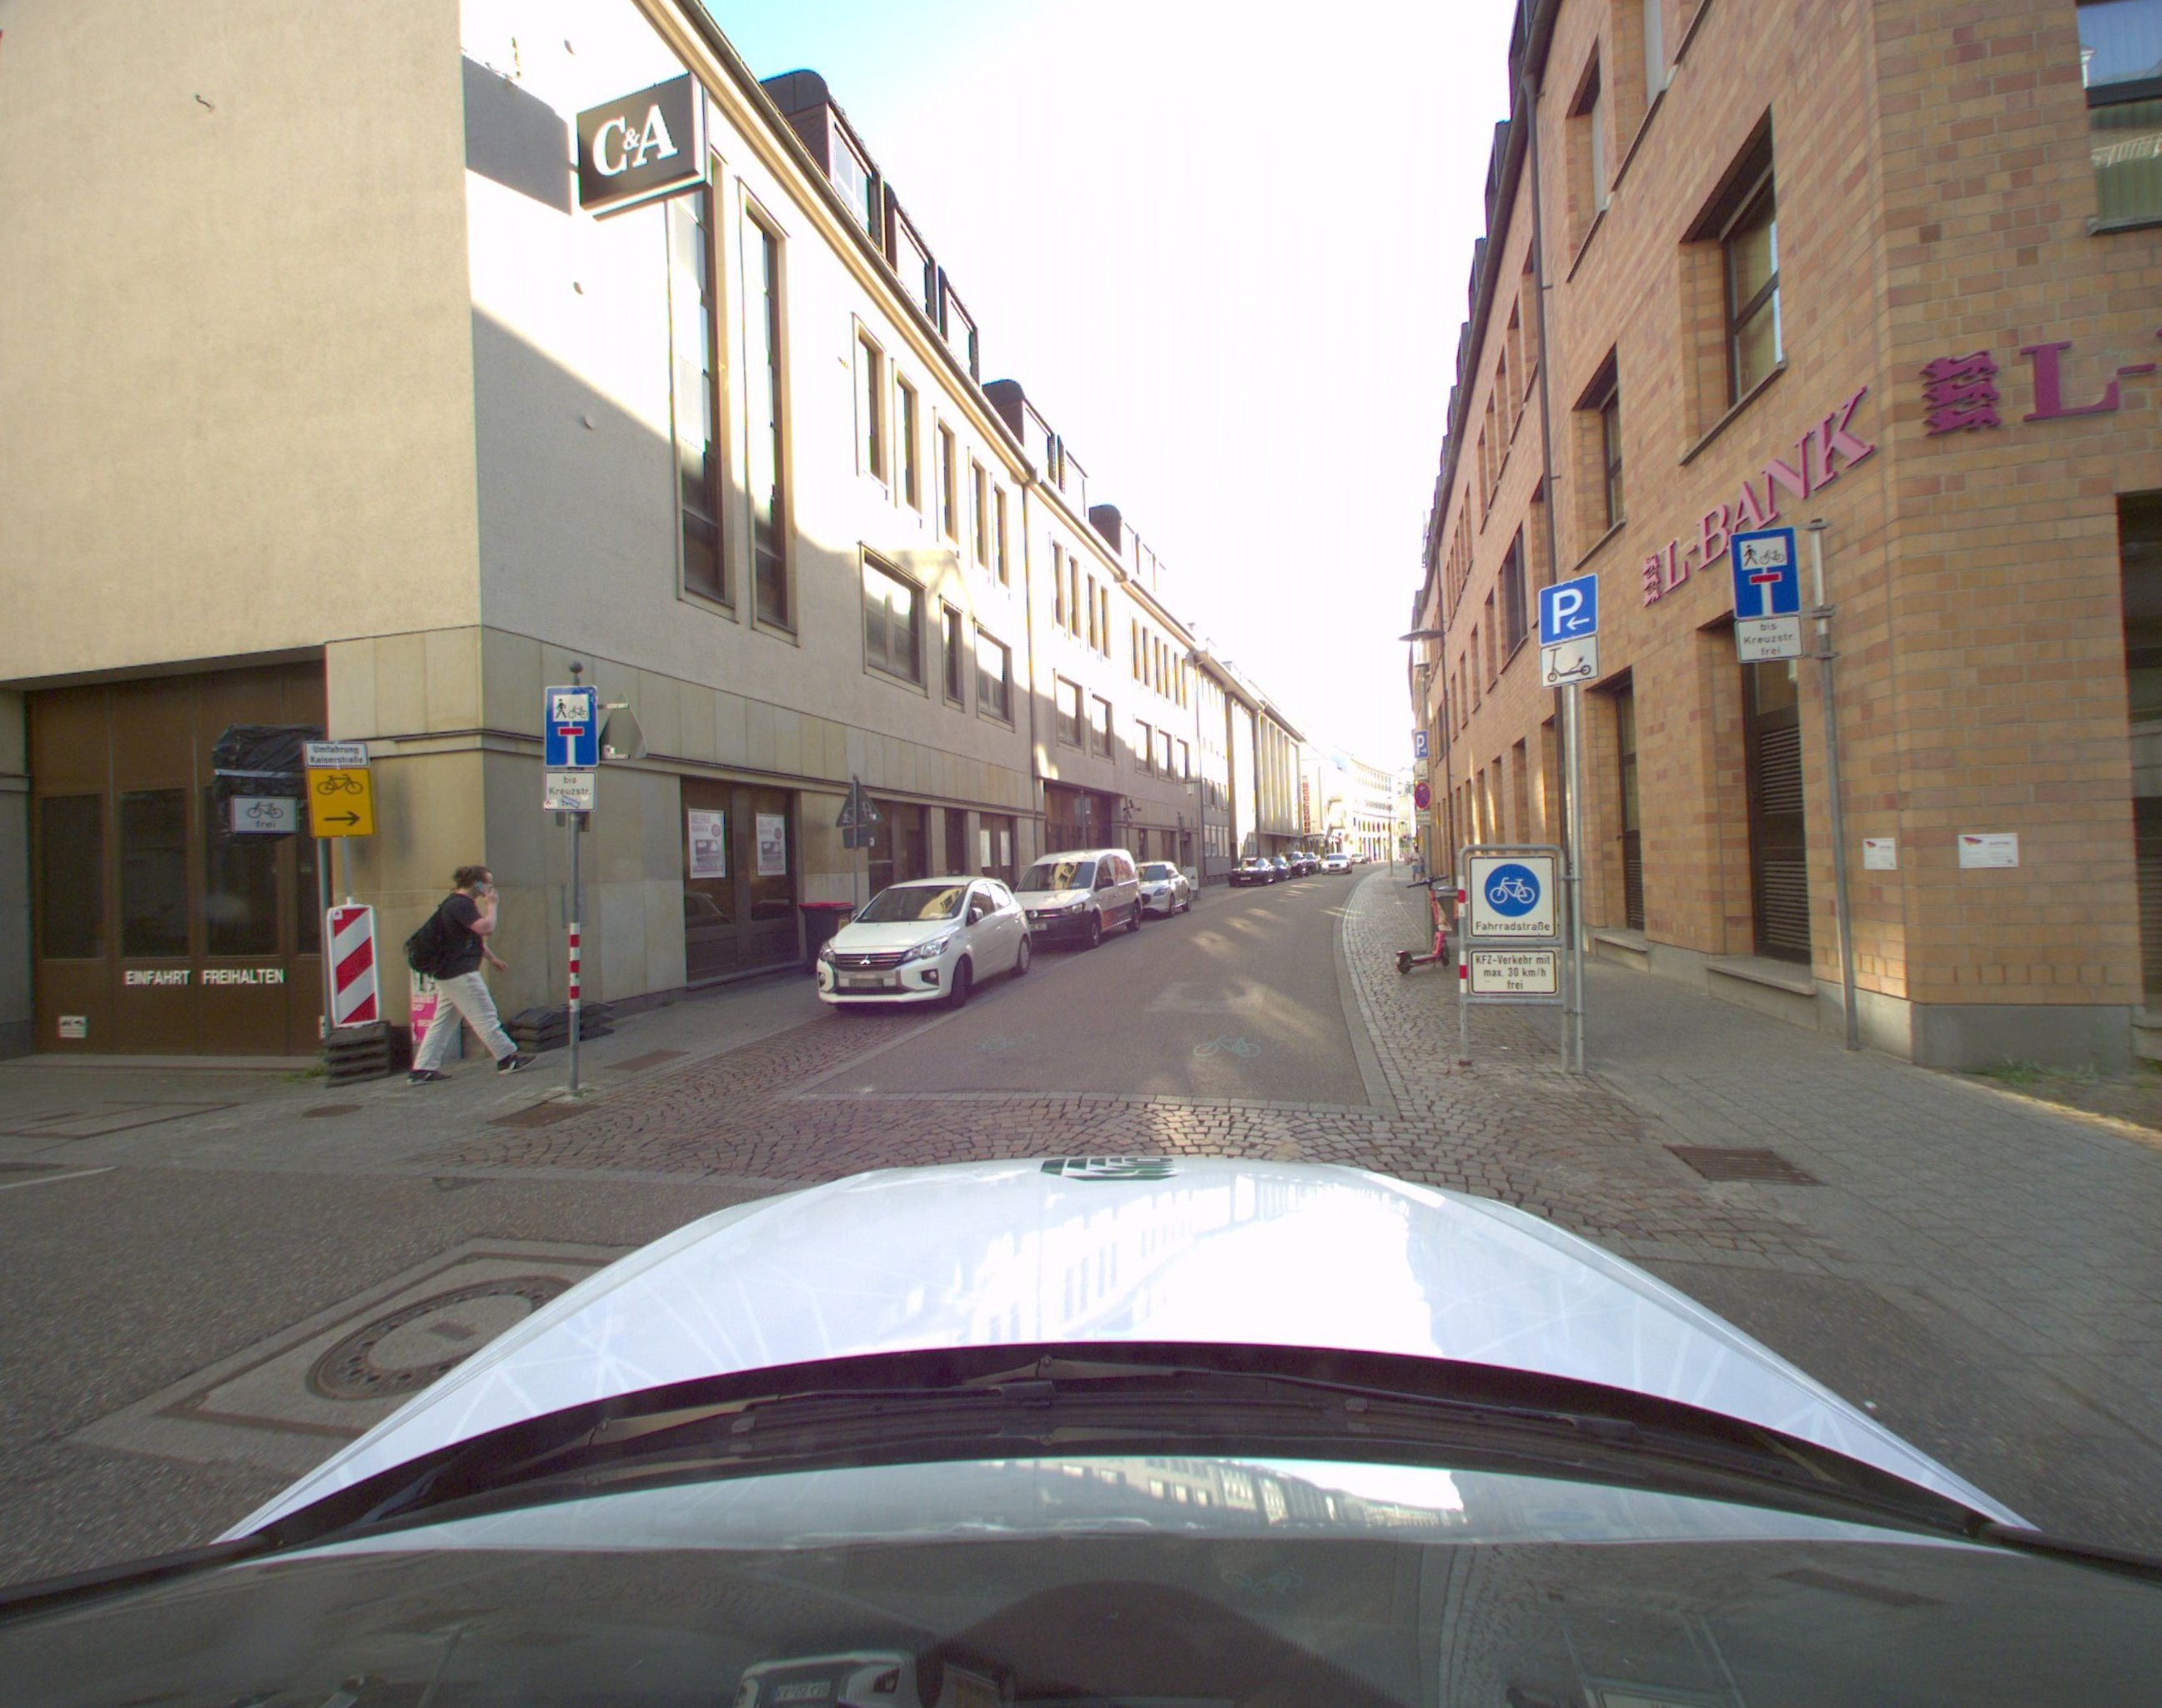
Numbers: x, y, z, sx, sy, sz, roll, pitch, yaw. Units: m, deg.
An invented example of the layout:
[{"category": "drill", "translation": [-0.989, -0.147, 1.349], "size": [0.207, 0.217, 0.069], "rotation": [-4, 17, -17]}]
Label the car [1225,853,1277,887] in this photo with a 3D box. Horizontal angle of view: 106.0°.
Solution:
[{"category": "car", "translation": [8.823, 0.774, 42.005], "size": [1.874, 1.530, 4.752], "rotation": [-3, -1, 20]}]

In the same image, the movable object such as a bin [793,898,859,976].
[{"category": "movable object such as a bin", "translation": [-3.802, 1.217, 12.150], "size": [0.731, 1.101, 0.593], "rotation": [0, -1, 14]}]

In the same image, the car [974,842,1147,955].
[{"category": "car", "translation": [-0.206, 0.764, 16.348], "size": [1.884, 1.857, 4.755], "rotation": [-4, -1, 18]}]

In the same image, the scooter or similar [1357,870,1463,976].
[{"category": "scooter or similar", "translation": [4.261, 0.849, 10.522], "size": [1.424, 1.235, 0.533], "rotation": [-2, 0, -33]}]

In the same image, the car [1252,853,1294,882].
[{"category": "car", "translation": [11.346, 0.745, 47.950], "size": [1.874, 1.530, 4.361], "rotation": [-3, -1, 20]}]

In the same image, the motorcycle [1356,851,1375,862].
[{"category": "motorcycle", "translation": [39.464, 0.345, 112.887], "size": [2.369, 1.317, 0.867], "rotation": [-4, -1, 23]}]

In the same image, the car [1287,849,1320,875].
[{"category": "car", "translation": [16.304, 0.541, 59.622], "size": [1.874, 1.742, 4.412], "rotation": [-3, -1, 20]}]

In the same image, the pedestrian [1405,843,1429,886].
[{"category": "pedestrian", "translation": [13.990, 0.446, 33.923], "size": [0.754, 1.716, 0.825], "rotation": [-4, -1, 19]}]

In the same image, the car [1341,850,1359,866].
[{"category": "car", "translation": [28.499, 0.416, 86.291], "size": [1.626, 1.517, 4.181], "rotation": [-3, -1, 20]}]

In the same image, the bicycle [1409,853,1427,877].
[{"category": "bicycle", "translation": [17.132, 0.540, 41.434], "size": [0.545, 1.103, 1.991], "rotation": [-6, -1, 17]}]

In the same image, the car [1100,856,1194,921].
[{"category": "car", "translation": [1.910, 0.889, 22.410], "size": [1.656, 1.522, 3.793], "rotation": [-5, -1, 17]}]

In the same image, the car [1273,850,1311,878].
[{"category": "car", "translation": [13.892, 0.637, 53.488], "size": [1.874, 1.676, 4.576], "rotation": [-3, -1, 20]}]

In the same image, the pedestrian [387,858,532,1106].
[{"category": "pedestrian", "translation": [-5.104, 0.994, 6.739], "size": [0.865, 1.855, 0.708], "rotation": [-2, -3, -35]}]

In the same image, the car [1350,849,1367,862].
[{"category": "car", "translation": [34.998, 0.205, 102.626], "size": [1.721, 1.606, 3.552], "rotation": [-1, 0, 24]}]

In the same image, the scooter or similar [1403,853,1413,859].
[{"category": "scooter or similar", "translation": [58.012, 0.348, 144.365], "size": [2.238, 0.928, 0.521], "rotation": [-1, 0, -37]}]

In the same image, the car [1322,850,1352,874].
[{"category": "car", "translation": [17.457, 0.509, 55.525], "size": [1.700, 1.517, 4.181], "rotation": [-3, -1, 20]}]

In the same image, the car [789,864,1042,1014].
[{"category": "car", "translation": [-1.912, 0.959, 10.675], "size": [1.725, 1.492, 3.813], "rotation": [-4, -1, 13]}]
